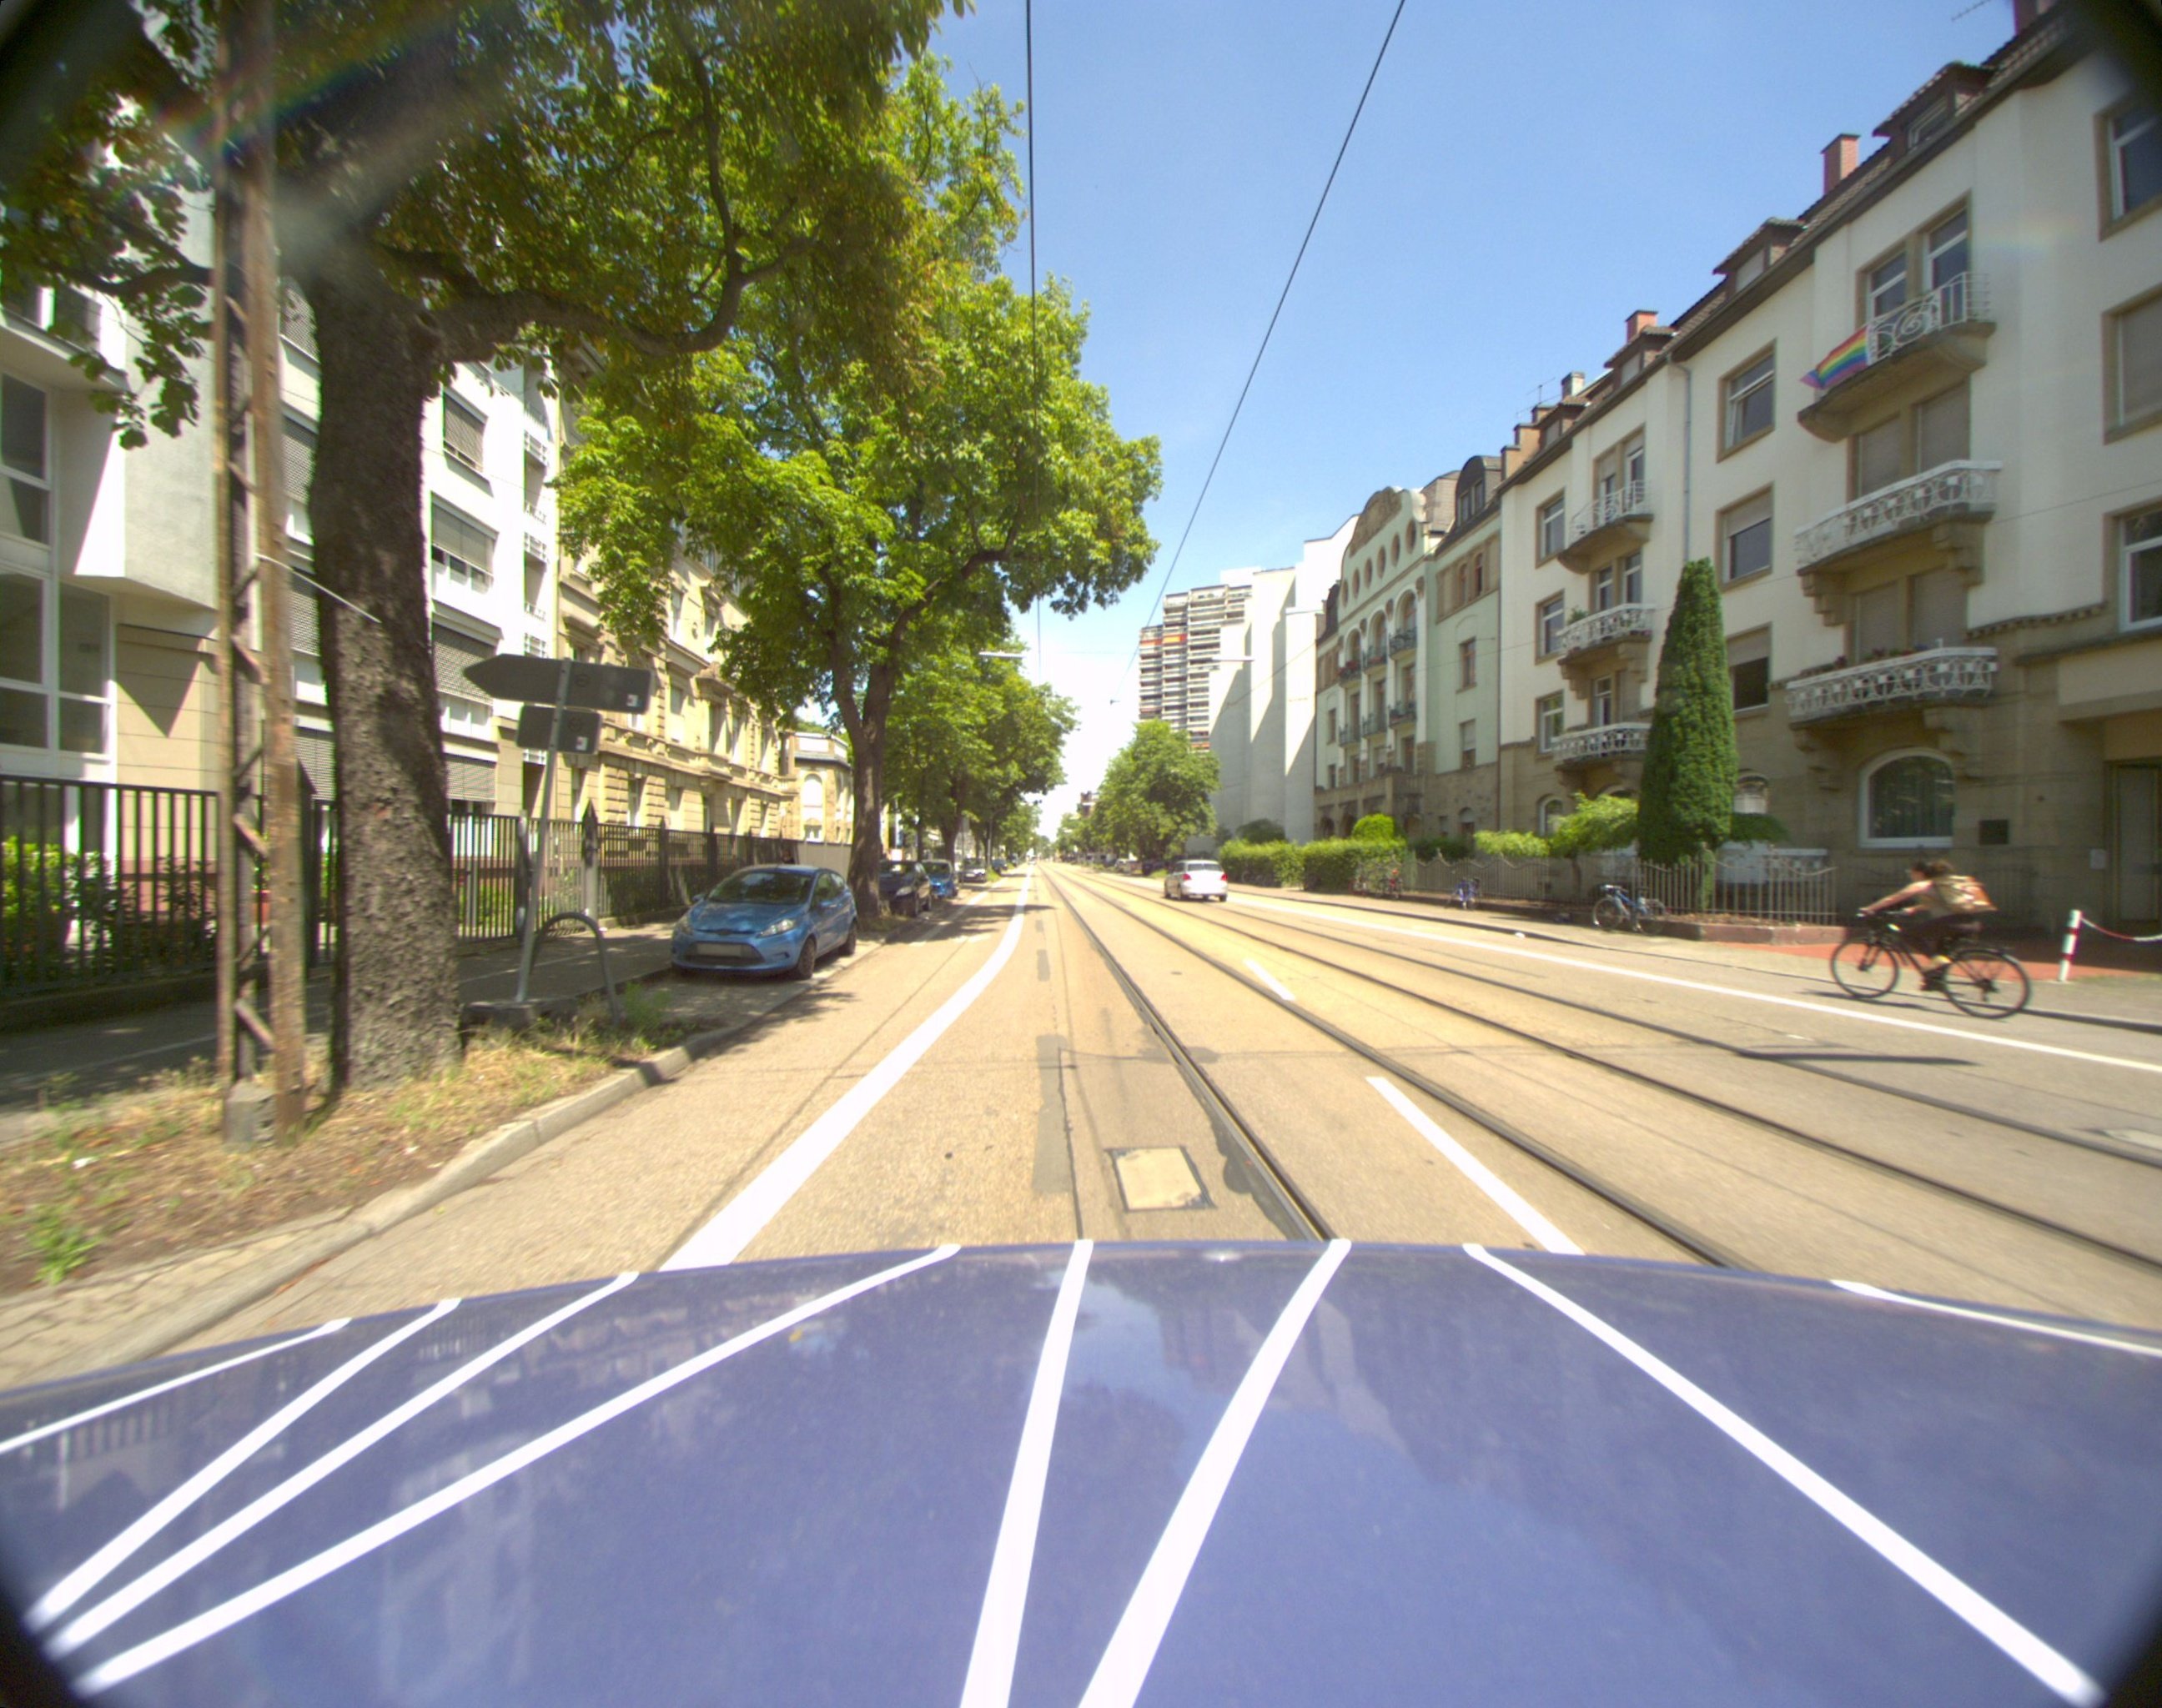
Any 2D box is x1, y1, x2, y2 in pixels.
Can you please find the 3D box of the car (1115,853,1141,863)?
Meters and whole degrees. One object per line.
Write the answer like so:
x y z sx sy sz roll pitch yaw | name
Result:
6.129 0.477 98.332 1.491 1.259 3.491 1 1 42 | car

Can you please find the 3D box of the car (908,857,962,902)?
-5.567 0.922 29.229 1.615 1.488 3.580 2 1 -5 | car

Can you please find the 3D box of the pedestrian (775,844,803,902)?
-8.615 0.548 22.431 0.547 1.683 0.755 1 1 -4 | pedestrian

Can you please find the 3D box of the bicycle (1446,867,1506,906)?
10.578 0.854 20.423 0.463 0.943 1.953 -1 0 -4 | bicycle

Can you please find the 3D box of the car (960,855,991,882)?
-6.652 0.912 48.228 1.648 1.587 4.113 2 -1 -5 | car

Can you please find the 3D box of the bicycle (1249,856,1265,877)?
9.383 0.648 40.538 0.340 1.062 1.727 -1 1 -4 | bicycle

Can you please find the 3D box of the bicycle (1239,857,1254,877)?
9.244 0.697 42.513 0.340 1.062 1.727 -1 1 -4 | bicycle

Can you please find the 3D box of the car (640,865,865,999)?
-4.480 0.961 11.043 1.688 1.453 3.998 2 1 -3 | car

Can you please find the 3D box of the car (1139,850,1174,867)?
7.115 0.442 71.673 1.636 1.540 3.816 0 1 35 | car

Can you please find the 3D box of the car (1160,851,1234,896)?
4.104 0.659 27.537 1.713 1.404 3.822 2 1 -6 | car

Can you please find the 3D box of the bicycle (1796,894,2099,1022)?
9.107 1.028 8.173 0.646 1.068 2.185 0 0 -4 | bicycle

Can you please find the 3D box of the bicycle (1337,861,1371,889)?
10.133 0.770 28.240 0.400 0.965 2.046 -1 0 -4 | bicycle

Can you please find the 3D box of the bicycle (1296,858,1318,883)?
9.956 0.722 33.503 0.290 1.040 1.898 -1 1 -4 | bicycle

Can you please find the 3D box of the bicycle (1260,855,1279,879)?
9.527 0.644 38.516 0.340 1.157 1.932 -1 1 -4 | bicycle

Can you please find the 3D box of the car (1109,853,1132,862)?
5.296 0.457 102.236 1.361 1.293 3.316 1 1 42 | car

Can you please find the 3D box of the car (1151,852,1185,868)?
7.913 0.497 68.695 1.487 1.391 3.287 0 1 40 | car

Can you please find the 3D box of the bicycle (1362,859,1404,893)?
10.306 0.717 25.968 0.493 1.090 2.046 -1 0 -4 | bicycle

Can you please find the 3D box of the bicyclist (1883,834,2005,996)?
9.125 0.620 8.056 0.612 1.653 0.579 0 1 -4 | bicyclist

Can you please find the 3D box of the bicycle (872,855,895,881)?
-9.869 0.667 38.044 0.689 1.217 2.118 -1 1 -4 | bicycle

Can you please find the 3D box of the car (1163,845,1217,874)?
7.962 0.366 55.376 3.915 1.958 1.908 -1 2 -44 | car

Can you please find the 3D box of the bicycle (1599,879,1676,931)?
11.010 0.982 15.081 0.253 0.911 1.614 -1 0 -4 | bicycle

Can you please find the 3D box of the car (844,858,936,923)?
-5.073 0.915 20.659 1.682 1.488 3.917 2 1 -3 | car
